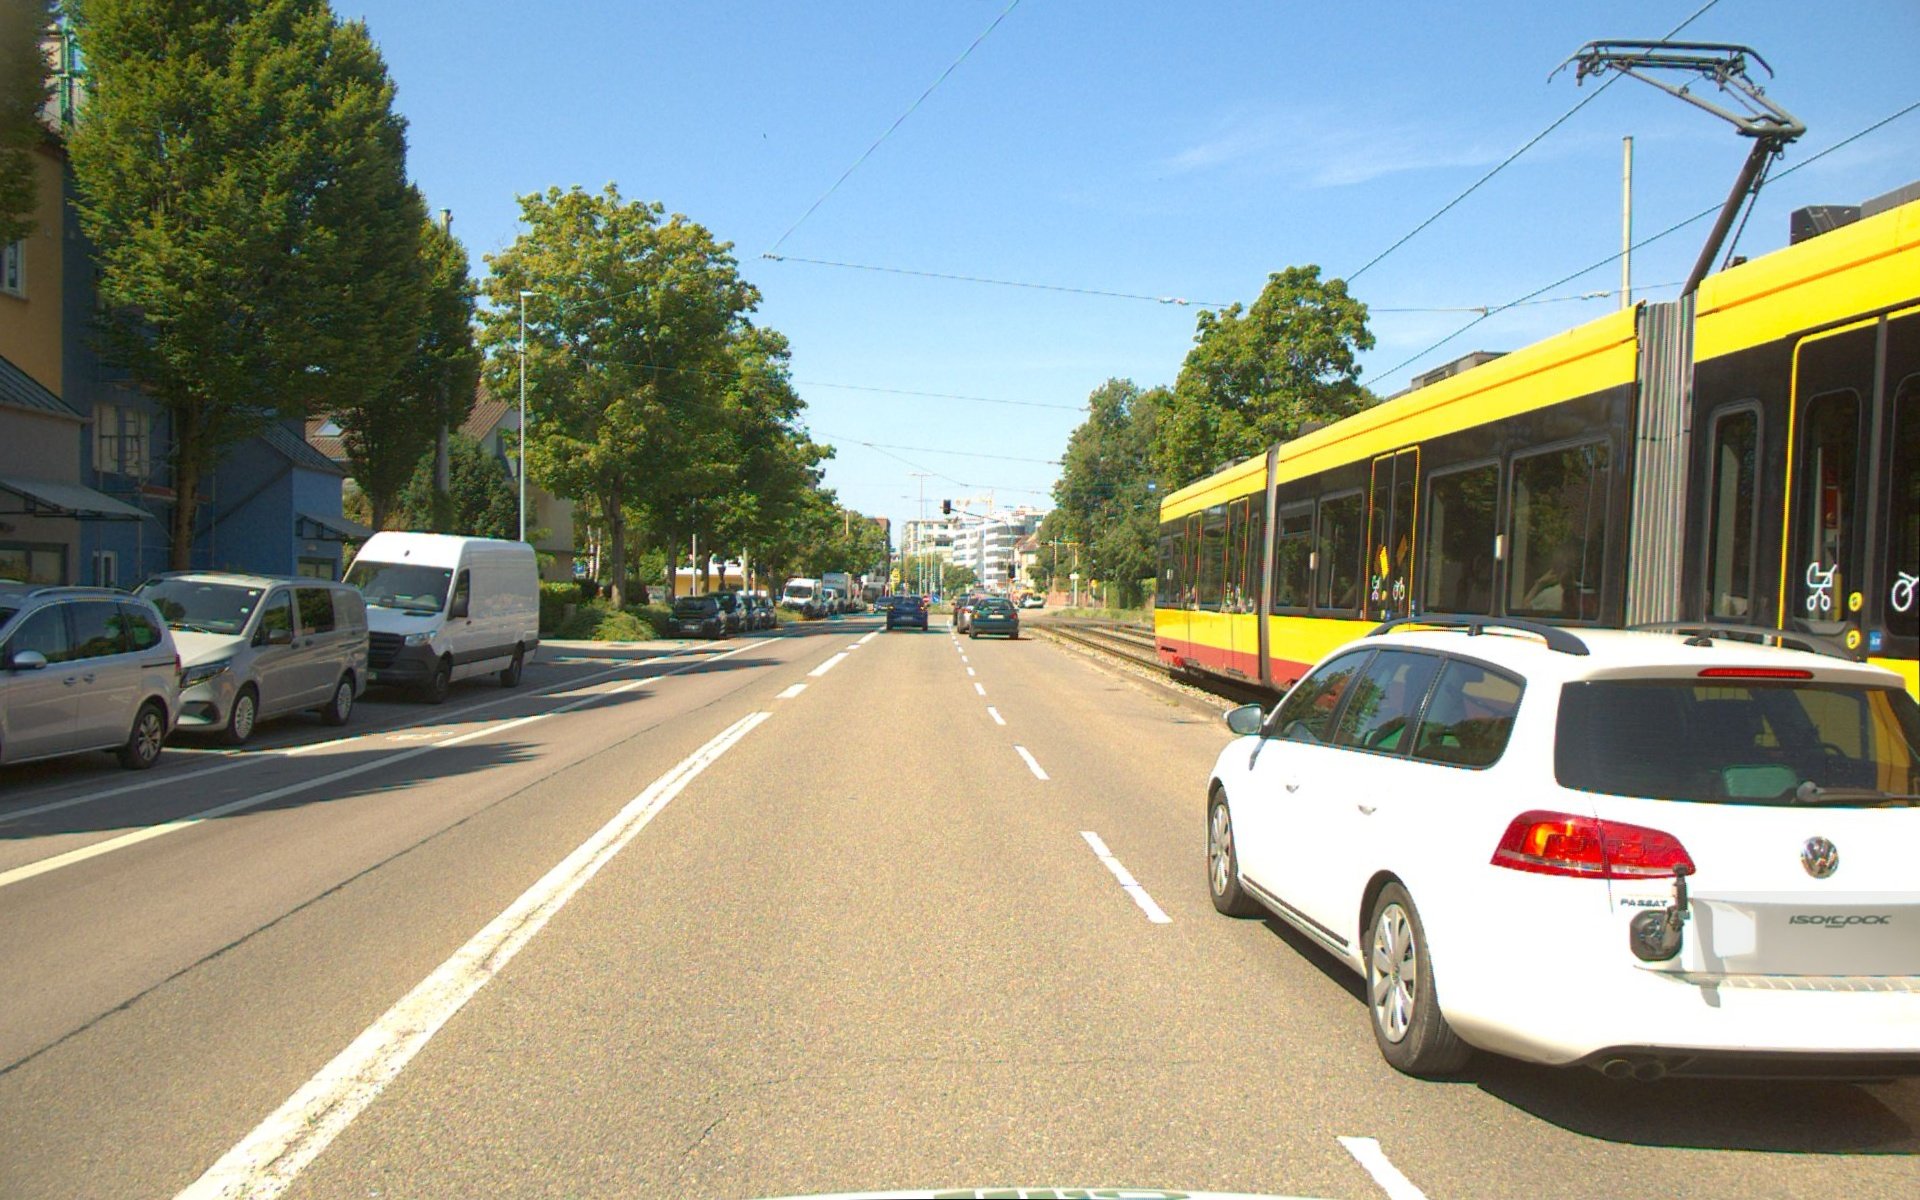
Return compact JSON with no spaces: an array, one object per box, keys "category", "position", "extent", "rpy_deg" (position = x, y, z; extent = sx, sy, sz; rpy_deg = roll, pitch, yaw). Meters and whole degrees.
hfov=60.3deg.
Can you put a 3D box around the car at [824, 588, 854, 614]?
[{"category":"car","position":[-9.250,0.066,126.834],"extent":[1.788,1.900,4.726],"rpy_deg":[0,0,2]}]

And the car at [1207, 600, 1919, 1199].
[{"category":"car","position":[2.260,0.763,6.458],"extent":[1.658,1.476,4.455],"rpy_deg":[0,0,-4]}]

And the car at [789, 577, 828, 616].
[{"category":"car","position":[-9.719,-0.249,106.474],"extent":[1.841,2.458,5.118],"rpy_deg":[0,0,2]}]

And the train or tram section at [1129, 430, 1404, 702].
[{"category":"train or tram section","position":[4.995,-0.509,29.927],"extent":[2.460,3.812,13.309],"rpy_deg":[0,0,0]}]

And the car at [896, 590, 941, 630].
[{"category":"car","position":[-1.726,0.385,68.743],"extent":[1.764,1.533,3.999],"rpy_deg":[1,1,-2]}]

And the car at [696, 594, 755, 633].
[{"category":"car","position":[-9.436,0.520,66.829],"extent":[1.664,1.508,4.001],"rpy_deg":[0,0,2]}]

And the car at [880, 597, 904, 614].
[{"category":"car","position":[-5.376,0.402,130.671],"extent":[1.664,1.295,4.000],"rpy_deg":[0,0,1]}]

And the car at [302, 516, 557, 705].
[{"category":"car","position":[-8.907,0.165,28.626],"extent":[1.954,2.761,7.156],"rpy_deg":[3,0,0]}]

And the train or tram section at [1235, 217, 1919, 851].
[{"category":"train or tram section","position":[5.213,-0.428,16.630],"extent":[2.460,3.812,13.308],"rpy_deg":[0,0,-1]}]

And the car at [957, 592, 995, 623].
[{"category":"car","position":[0.763,0.366,81.111],"extent":[1.764,1.486,3.999],"rpy_deg":[0,0,-2]}]

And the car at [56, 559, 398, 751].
[{"category":"car","position":[-8.866,0.595,20.638],"extent":[1.881,1.982,5.353],"rpy_deg":[3,0,-1]}]

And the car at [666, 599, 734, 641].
[{"category":"car","position":[-9.283,0.698,59.348],"extent":[1.664,1.442,4.001],"rpy_deg":[0,0,2]}]

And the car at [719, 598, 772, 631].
[{"category":"car","position":[-9.342,0.624,72.241],"extent":[1.664,1.376,4.001],"rpy_deg":[0,0,2]}]

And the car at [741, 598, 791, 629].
[{"category":"car","position":[-9.060,0.615,77.488],"extent":[1.664,1.376,4.001],"rpy_deg":[0,0,2]}]

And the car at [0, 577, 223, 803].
[{"category":"car","position":[-8.584,0.705,14.737],"extent":[1.764,1.754,4.909],"rpy_deg":[3,0,0]}]

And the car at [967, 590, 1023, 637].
[{"category":"car","position":[1.184,0.440,57.596],"extent":[1.764,1.533,3.999],"rpy_deg":[1,1,-2]}]

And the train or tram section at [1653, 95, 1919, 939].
[{"category":"train or tram section","position":[5.729,-0.354,3.489],"extent":[2.461,3.812,13.304],"rpy_deg":[0,0,-2]}]

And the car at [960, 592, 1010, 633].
[{"category":"car","position":[0.956,0.452,64.882],"extent":[1.764,1.485,3.999],"rpy_deg":[1,1,-2]}]
